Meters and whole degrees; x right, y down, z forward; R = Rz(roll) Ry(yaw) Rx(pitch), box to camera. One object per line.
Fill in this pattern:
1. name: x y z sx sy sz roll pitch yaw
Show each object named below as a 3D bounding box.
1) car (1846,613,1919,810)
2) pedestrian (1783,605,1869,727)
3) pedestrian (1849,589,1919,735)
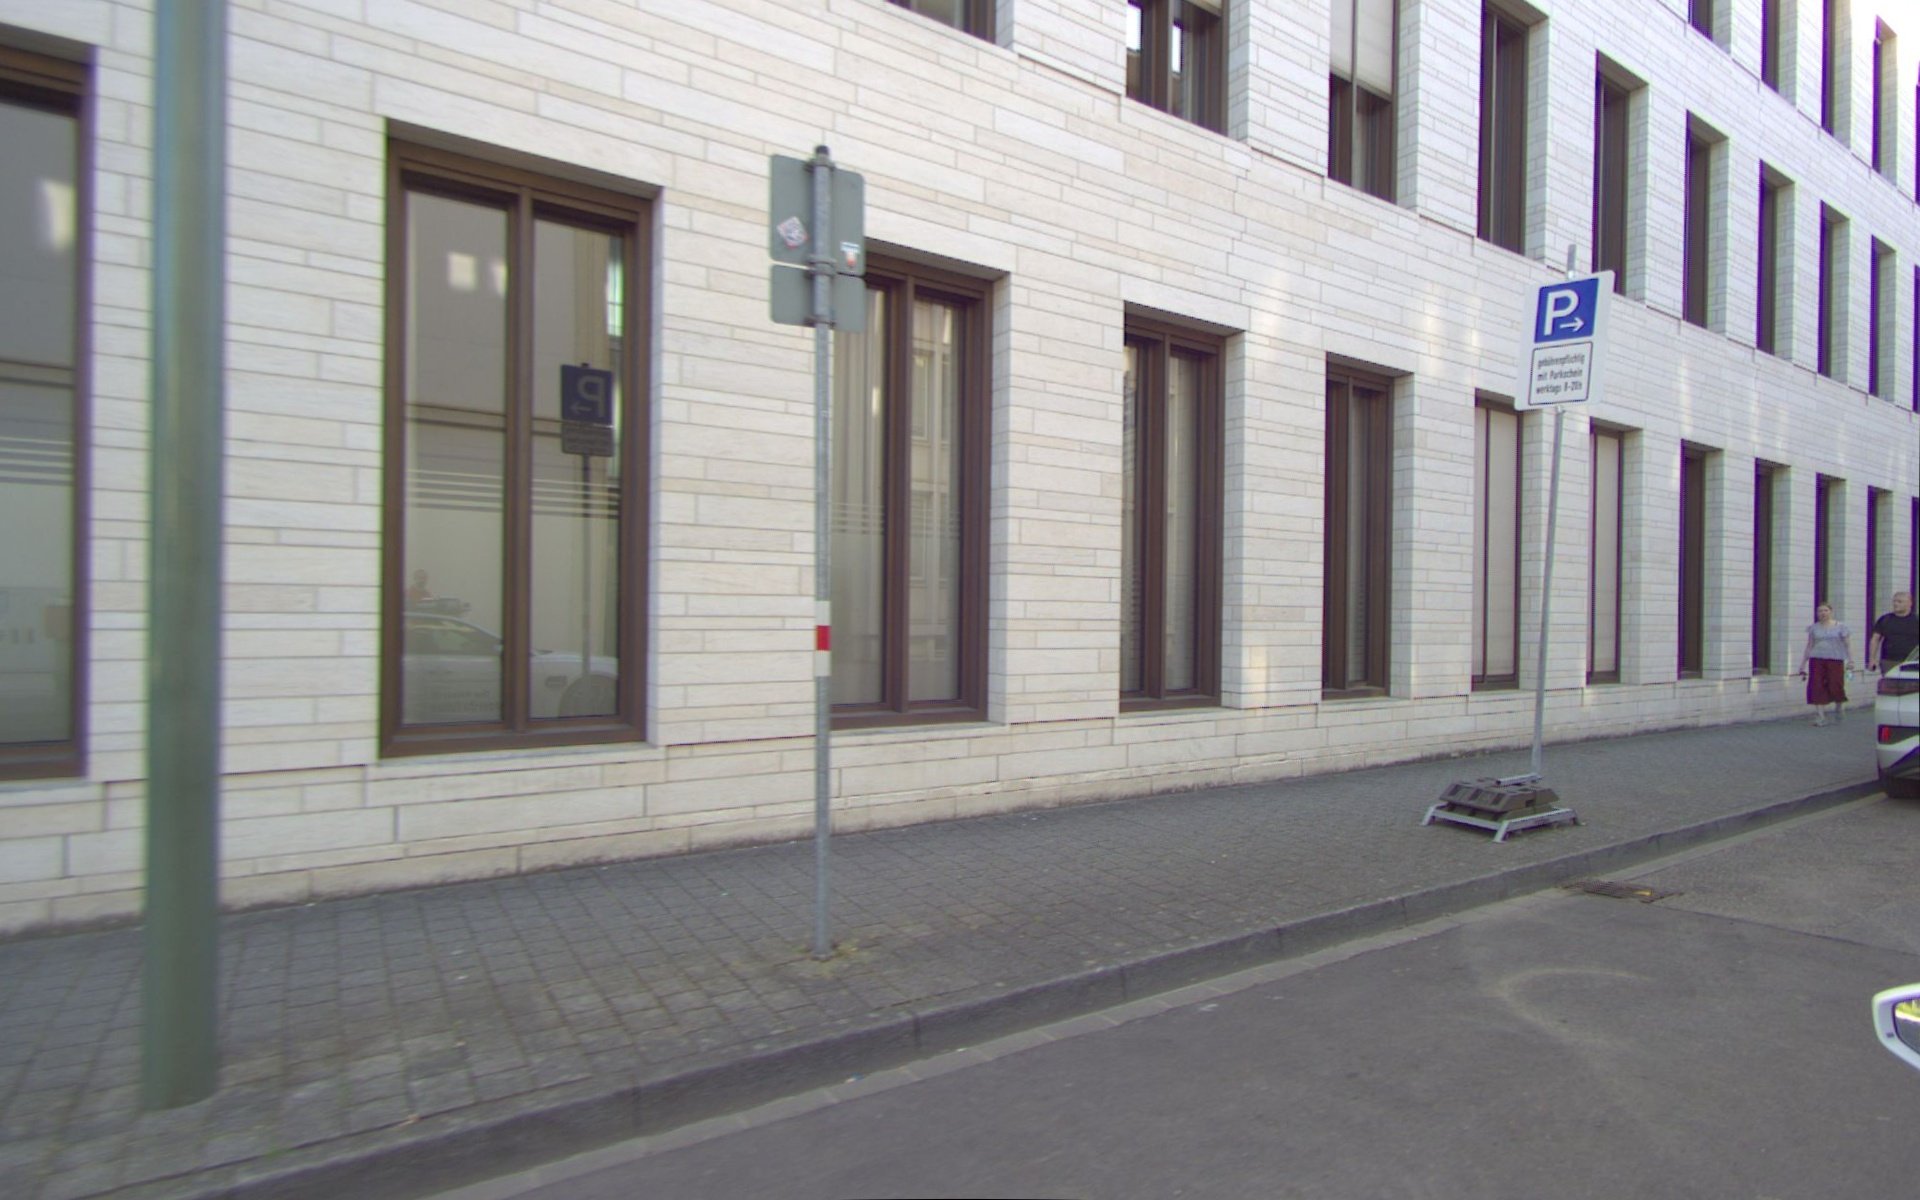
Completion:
1. car: 9.920 0.935 9.093 4.222 1.627 1.800 1 -2 -34
2. pedestrian: 12.100 0.896 14.033 0.851 1.635 0.700 1 -1 -33
3. pedestrian: 12.068 0.785 12.979 0.719 1.810 0.700 1 -1 -33
